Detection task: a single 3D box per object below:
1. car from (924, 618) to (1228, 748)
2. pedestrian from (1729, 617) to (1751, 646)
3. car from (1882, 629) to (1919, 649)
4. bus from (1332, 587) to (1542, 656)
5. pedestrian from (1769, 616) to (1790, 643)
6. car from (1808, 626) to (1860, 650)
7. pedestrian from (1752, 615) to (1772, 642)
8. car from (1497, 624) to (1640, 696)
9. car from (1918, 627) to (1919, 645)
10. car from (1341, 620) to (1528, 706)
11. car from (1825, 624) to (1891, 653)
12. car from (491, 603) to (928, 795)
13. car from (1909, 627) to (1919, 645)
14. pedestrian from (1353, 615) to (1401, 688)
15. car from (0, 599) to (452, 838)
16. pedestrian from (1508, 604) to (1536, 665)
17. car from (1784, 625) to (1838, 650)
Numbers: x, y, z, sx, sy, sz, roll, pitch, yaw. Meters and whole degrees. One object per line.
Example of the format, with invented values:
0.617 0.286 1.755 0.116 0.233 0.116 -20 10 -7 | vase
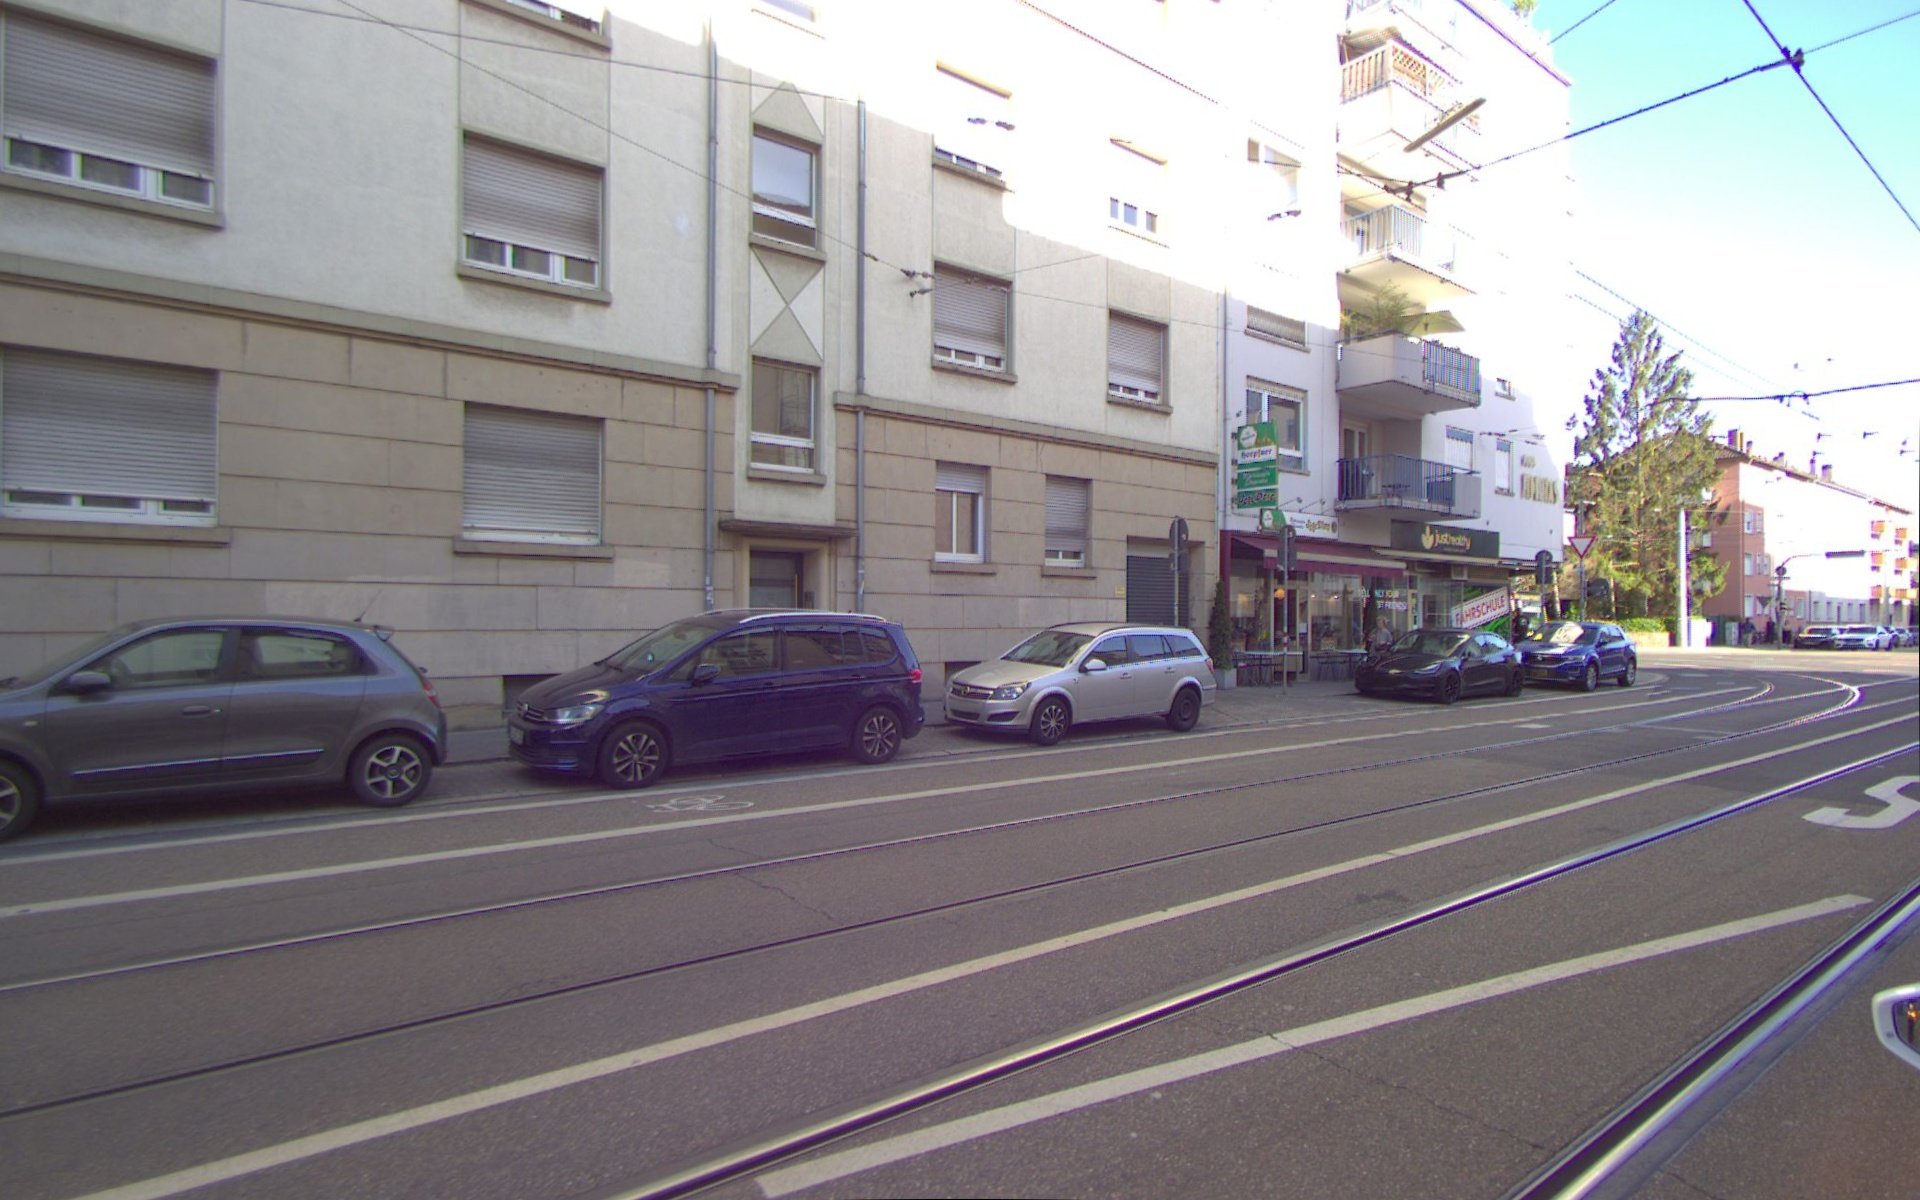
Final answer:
1.751 1.076 14.246 4.348 1.529 1.686 2 0 -38 | car
47.381 1.912 61.000 0.729 1.713 0.839 1 -1 -32 | pedestrian
74.939 3.110 79.849 3.965 1.517 1.896 1 -1 -39 | car
23.905 1.077 51.179 2.697 3.200 10.120 1 -1 -28 | bus
52.344 1.855 64.171 0.729 1.713 0.839 1 -1 -32 | pedestrian
57.004 2.433 65.503 3.965 1.517 1.896 1 -1 -39 | car
51.776 1.848 64.840 0.729 1.713 0.839 1 -1 -32 | pedestrian
14.664 1.393 24.124 3.967 1.529 1.730 2 0 -40 | car
85.473 3.144 87.888 3.965 1.517 1.896 1 -1 -39 | car
9.794 1.245 20.616 4.273 1.529 1.687 2 0 -37 | car
51.742 2.170 57.842 4.355 1.595 1.838 1 -1 -34 | car
-2.518 0.914 10.732 4.209 1.637 1.685 2 0 -40 | car
81.709 3.035 84.692 3.965 1.517 1.896 1 -1 -39 | car
9.201 1.119 22.171 0.714 1.569 0.693 0 0 -34 | pedestrian
-6.393 0.827 7.977 3.964 1.590 1.687 2 0 -37 | car
19.117 1.161 34.169 0.482 2.040 0.681 1 -1 -40 | pedestrian
51.748 2.235 61.034 3.967 1.452 1.895 1 -1 -40 | car
